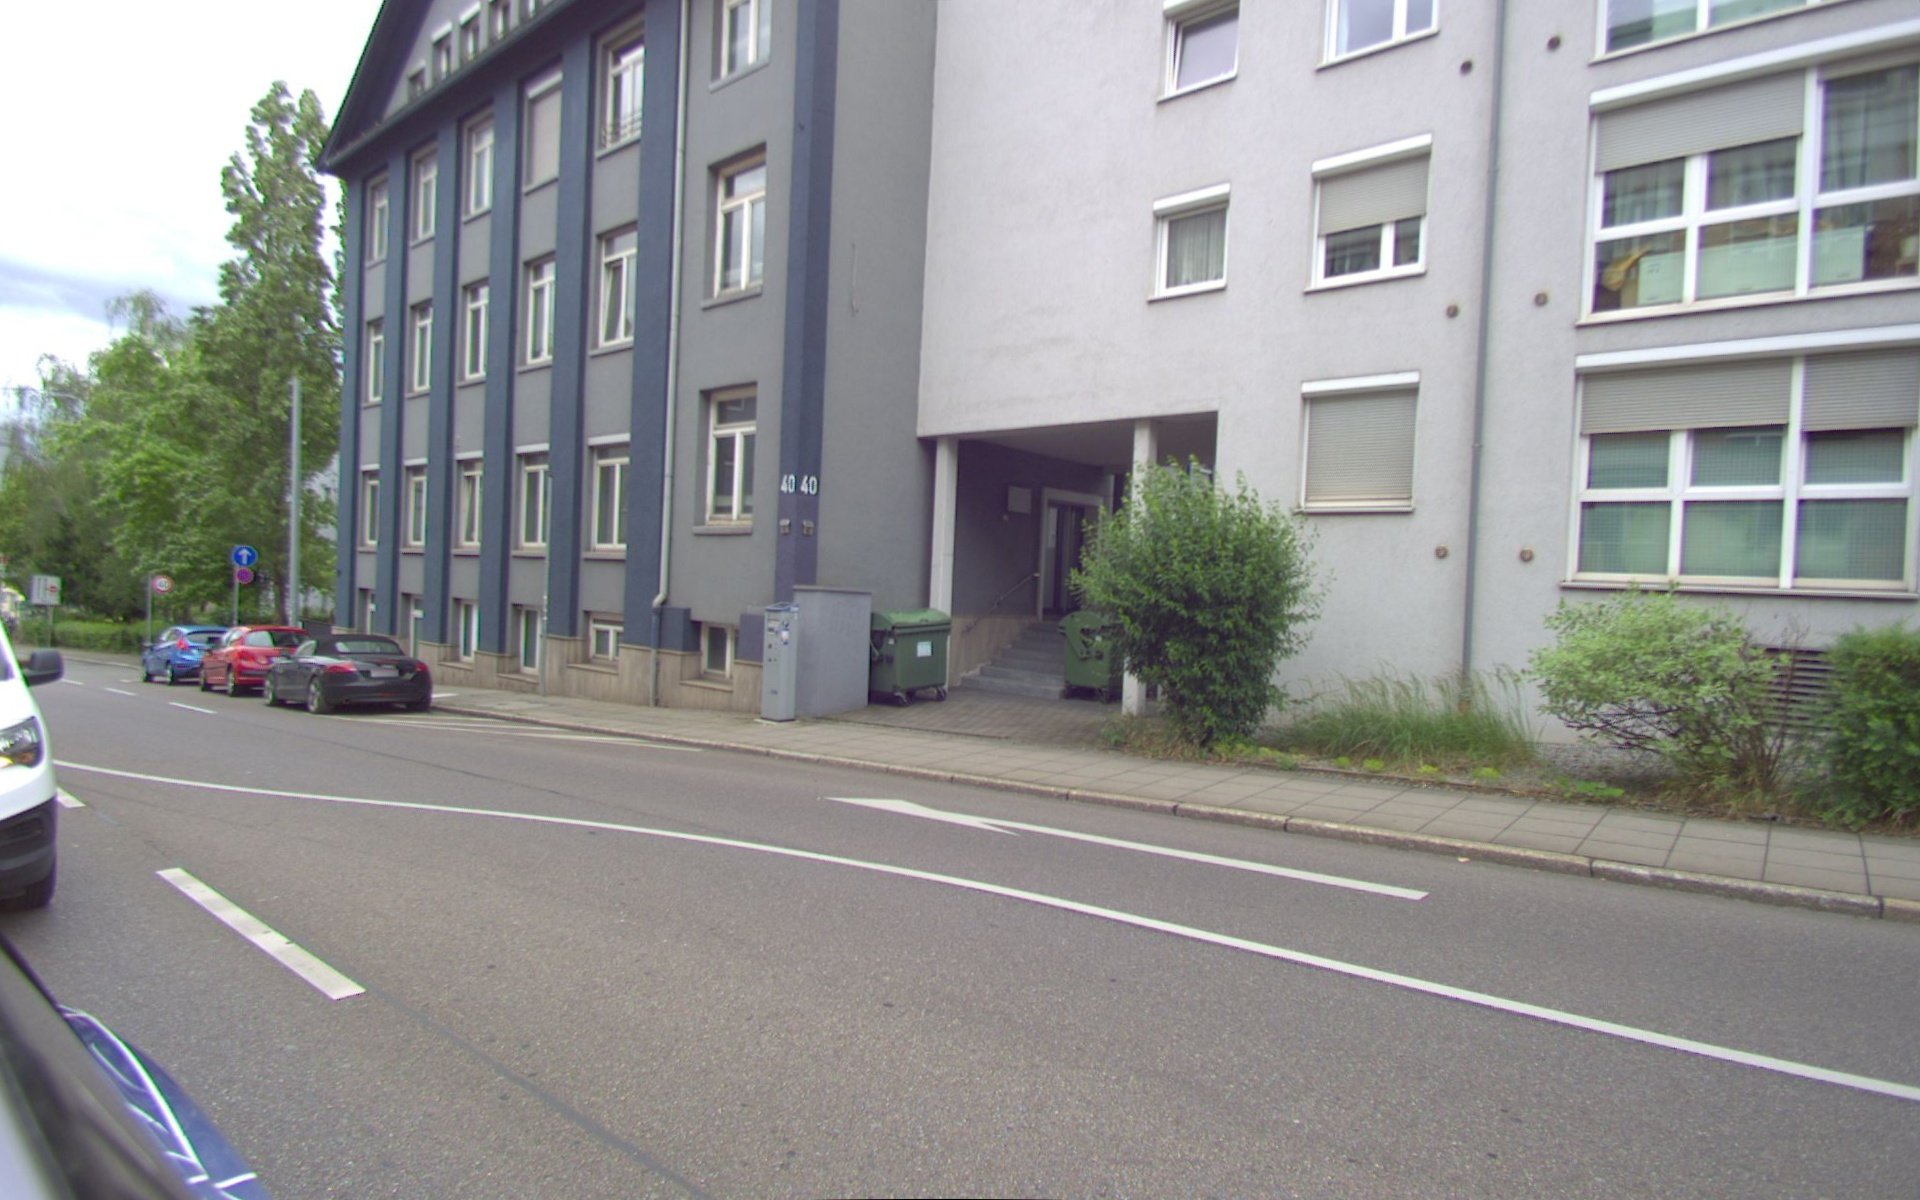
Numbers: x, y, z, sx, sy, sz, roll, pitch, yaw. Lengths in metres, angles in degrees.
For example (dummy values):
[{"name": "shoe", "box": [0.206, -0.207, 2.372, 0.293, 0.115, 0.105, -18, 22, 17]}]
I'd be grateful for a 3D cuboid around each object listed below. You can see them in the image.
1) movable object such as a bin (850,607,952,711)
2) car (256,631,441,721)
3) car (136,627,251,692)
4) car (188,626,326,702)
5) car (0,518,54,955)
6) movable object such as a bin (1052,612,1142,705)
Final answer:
[{"name": "movable object such as a bin", "box": [-0.911, 0.875, 15.749, 1.039, 1.518, 1.213, -1, 0, 41]}, {"name": "car", "box": [-10.984, 1.273, 18.102, 3.727, 1.403, 1.778, -1, -2, 41]}, {"name": "car", "box": [-19.502, 1.454, 25.706, 3.727, 1.460, 1.623, -1, 0, 41]}, {"name": "car", "box": [-15.359, 1.325, 22.037, 3.727, 1.460, 1.623, -1, 0, 41]}, {"name": "car", "box": [-6.128, 0.618, 5.208, 3.998, 1.901, 1.716, -1, 0, 41]}, {"name": "movable object such as a bin", "box": [2.238, 0.921, 16.533, 1.078, 1.427, 1.026, -1, 0, 41]}]
